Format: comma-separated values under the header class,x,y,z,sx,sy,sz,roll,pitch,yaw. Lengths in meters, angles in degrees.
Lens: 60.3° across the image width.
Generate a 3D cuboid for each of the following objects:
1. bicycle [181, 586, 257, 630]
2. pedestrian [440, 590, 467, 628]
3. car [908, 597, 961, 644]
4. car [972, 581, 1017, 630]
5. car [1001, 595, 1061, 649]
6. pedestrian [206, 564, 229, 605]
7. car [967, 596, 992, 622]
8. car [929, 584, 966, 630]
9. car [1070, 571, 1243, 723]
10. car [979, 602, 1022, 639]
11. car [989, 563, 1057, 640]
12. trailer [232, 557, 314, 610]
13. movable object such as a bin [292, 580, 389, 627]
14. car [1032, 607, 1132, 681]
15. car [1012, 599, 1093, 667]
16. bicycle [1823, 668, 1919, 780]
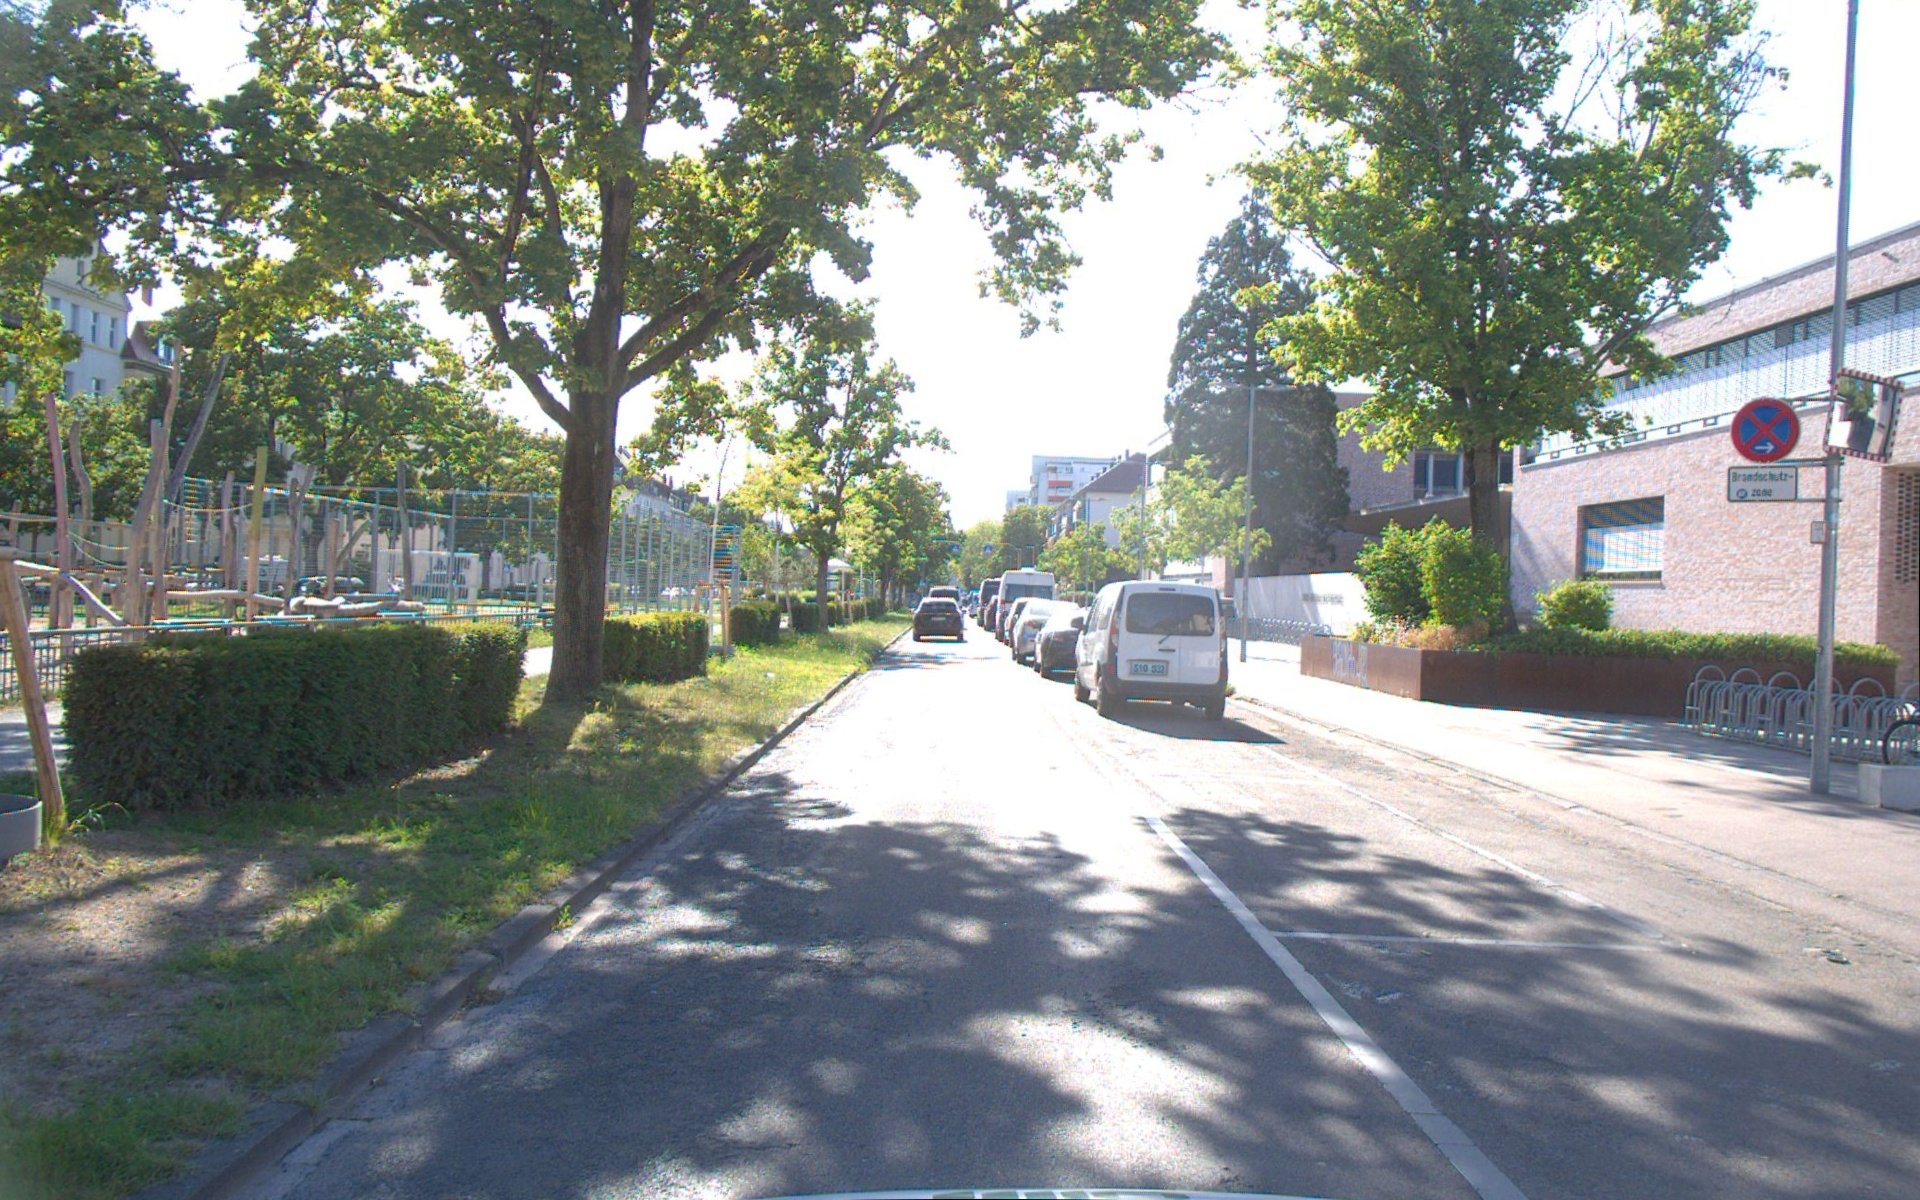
class,x,y,z,sx,sy,sz,roll,pitch,yaw
bicycle,-19.902,0.217,44.455,1.758,1.127,0.500,2,0,-3
pedestrian,-18.390,0.329,60.084,0.636,1.341,0.649,2,0,29
car,-0.865,0.682,58.049,1.757,1.537,4.000,2,0,0
car,1.852,0.300,90.386,2.072,2.559,6.529,1,0,-2
car,2.262,0.680,53.230,1.587,1.616,3.590,2,0,-3
pedestrian,-30.606,-0.643,68.188,0.635,1.690,0.650,1,0,-1
car,1.473,0.648,123.956,1.757,1.887,4.414,2,0,2
car,-0.613,0.343,82.902,1.757,2.159,4.000,2,0,0
car,2.749,0.619,24.061,1.771,1.942,4.459,2,0,-2
car,1.886,0.945,78.159,1.808,1.669,4.502,1,0,-1
car,2.256,0.074,60.848,2.195,2.619,5.432,2,0,0
trailer,-39.910,-0.944,96.251,2.296,2.920,5.801,2,0,-1
movable object such as a bin,-17.201,0.099,45.972,2.285,1.263,1.055,1,0,-5
car,2.448,0.863,34.107,1.667,1.348,4.128,2,0,-1
car,2.200,0.767,40.291,1.667,1.504,4.173,2,0,0
bicycle,9.632,1.264,16.617,1.635,1.047,0.500,3,0,-3
